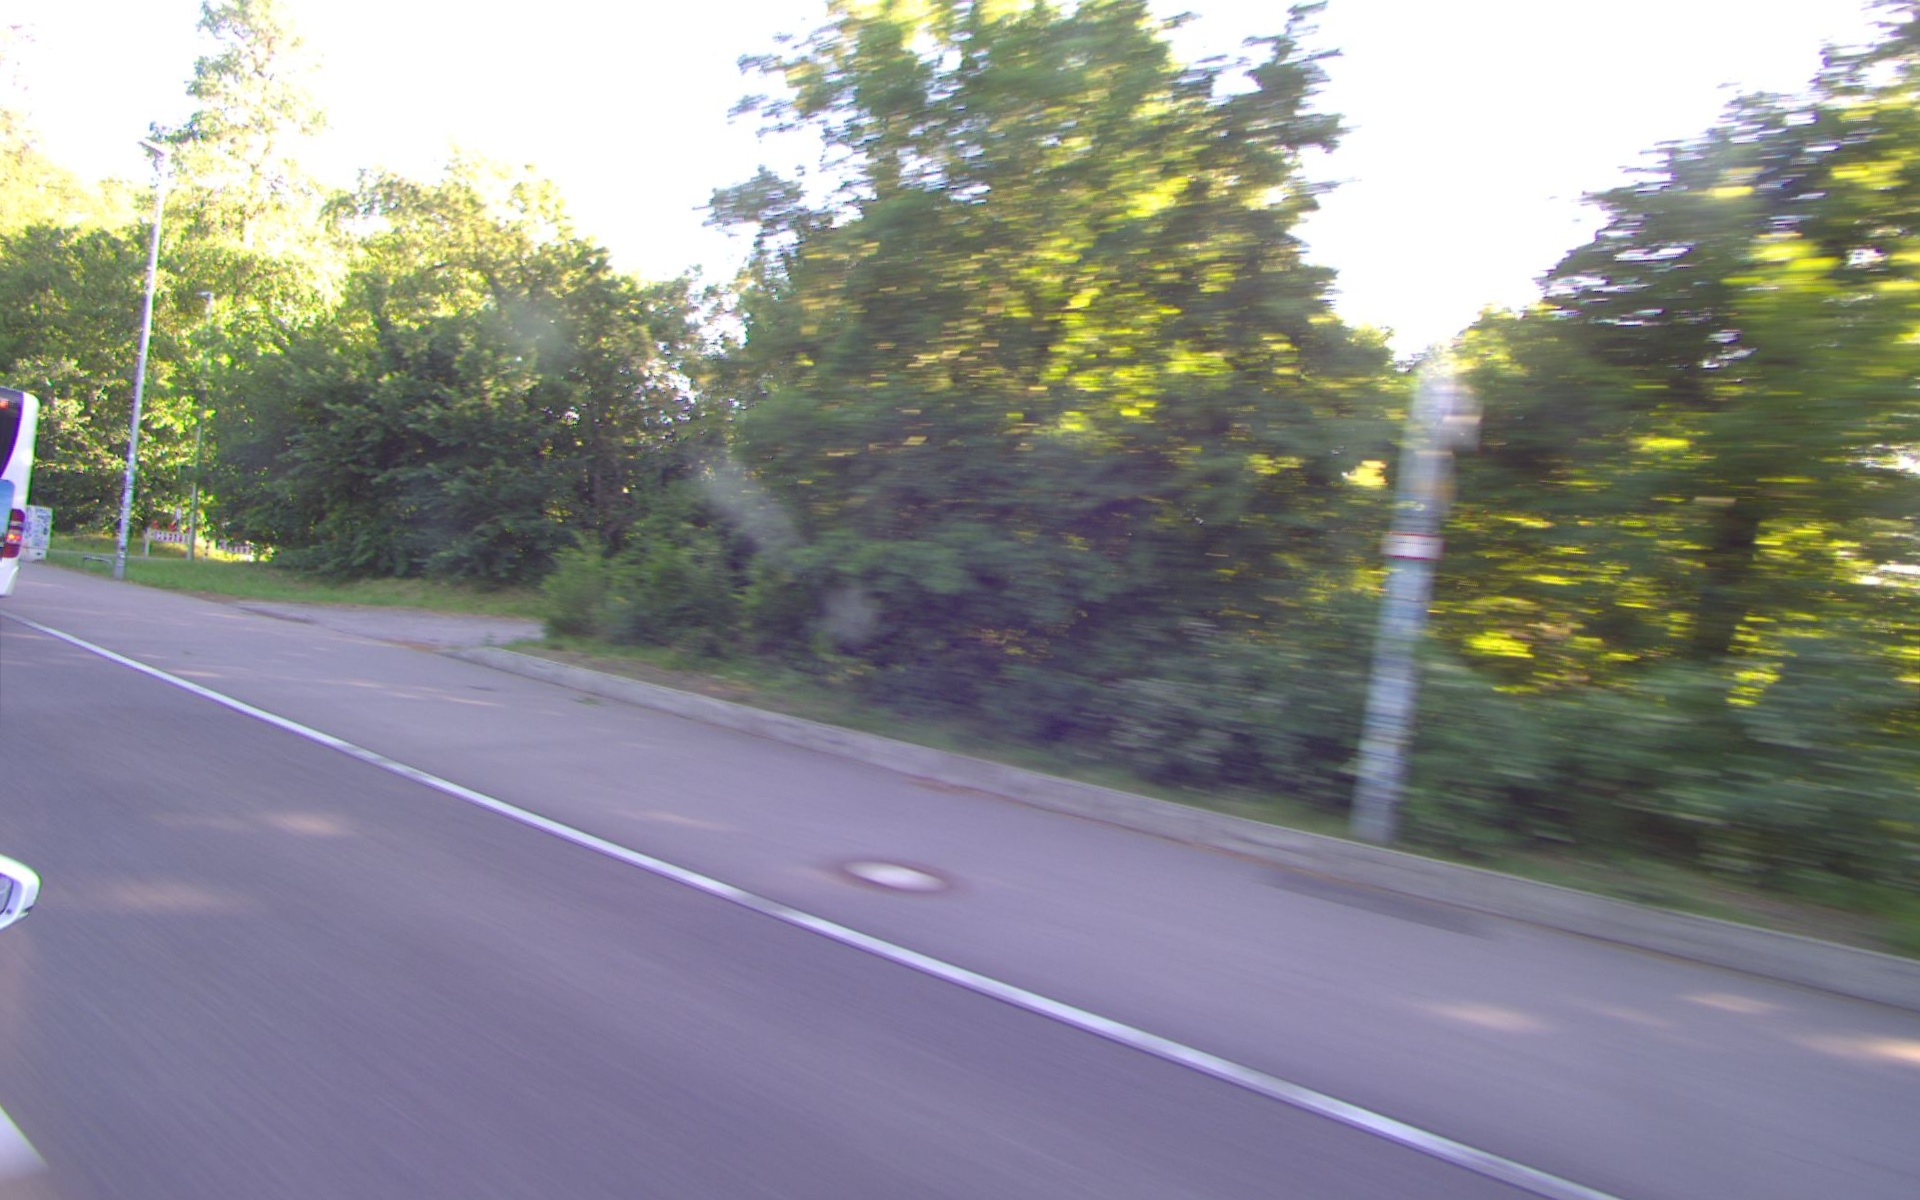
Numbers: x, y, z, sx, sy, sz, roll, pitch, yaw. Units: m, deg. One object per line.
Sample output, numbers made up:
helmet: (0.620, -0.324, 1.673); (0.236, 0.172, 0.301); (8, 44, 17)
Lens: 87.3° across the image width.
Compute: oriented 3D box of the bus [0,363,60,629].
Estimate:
bus: (-16.733, -1.835, 14.211); (11.844, 3.078, 2.694); (6, -2, 33)
